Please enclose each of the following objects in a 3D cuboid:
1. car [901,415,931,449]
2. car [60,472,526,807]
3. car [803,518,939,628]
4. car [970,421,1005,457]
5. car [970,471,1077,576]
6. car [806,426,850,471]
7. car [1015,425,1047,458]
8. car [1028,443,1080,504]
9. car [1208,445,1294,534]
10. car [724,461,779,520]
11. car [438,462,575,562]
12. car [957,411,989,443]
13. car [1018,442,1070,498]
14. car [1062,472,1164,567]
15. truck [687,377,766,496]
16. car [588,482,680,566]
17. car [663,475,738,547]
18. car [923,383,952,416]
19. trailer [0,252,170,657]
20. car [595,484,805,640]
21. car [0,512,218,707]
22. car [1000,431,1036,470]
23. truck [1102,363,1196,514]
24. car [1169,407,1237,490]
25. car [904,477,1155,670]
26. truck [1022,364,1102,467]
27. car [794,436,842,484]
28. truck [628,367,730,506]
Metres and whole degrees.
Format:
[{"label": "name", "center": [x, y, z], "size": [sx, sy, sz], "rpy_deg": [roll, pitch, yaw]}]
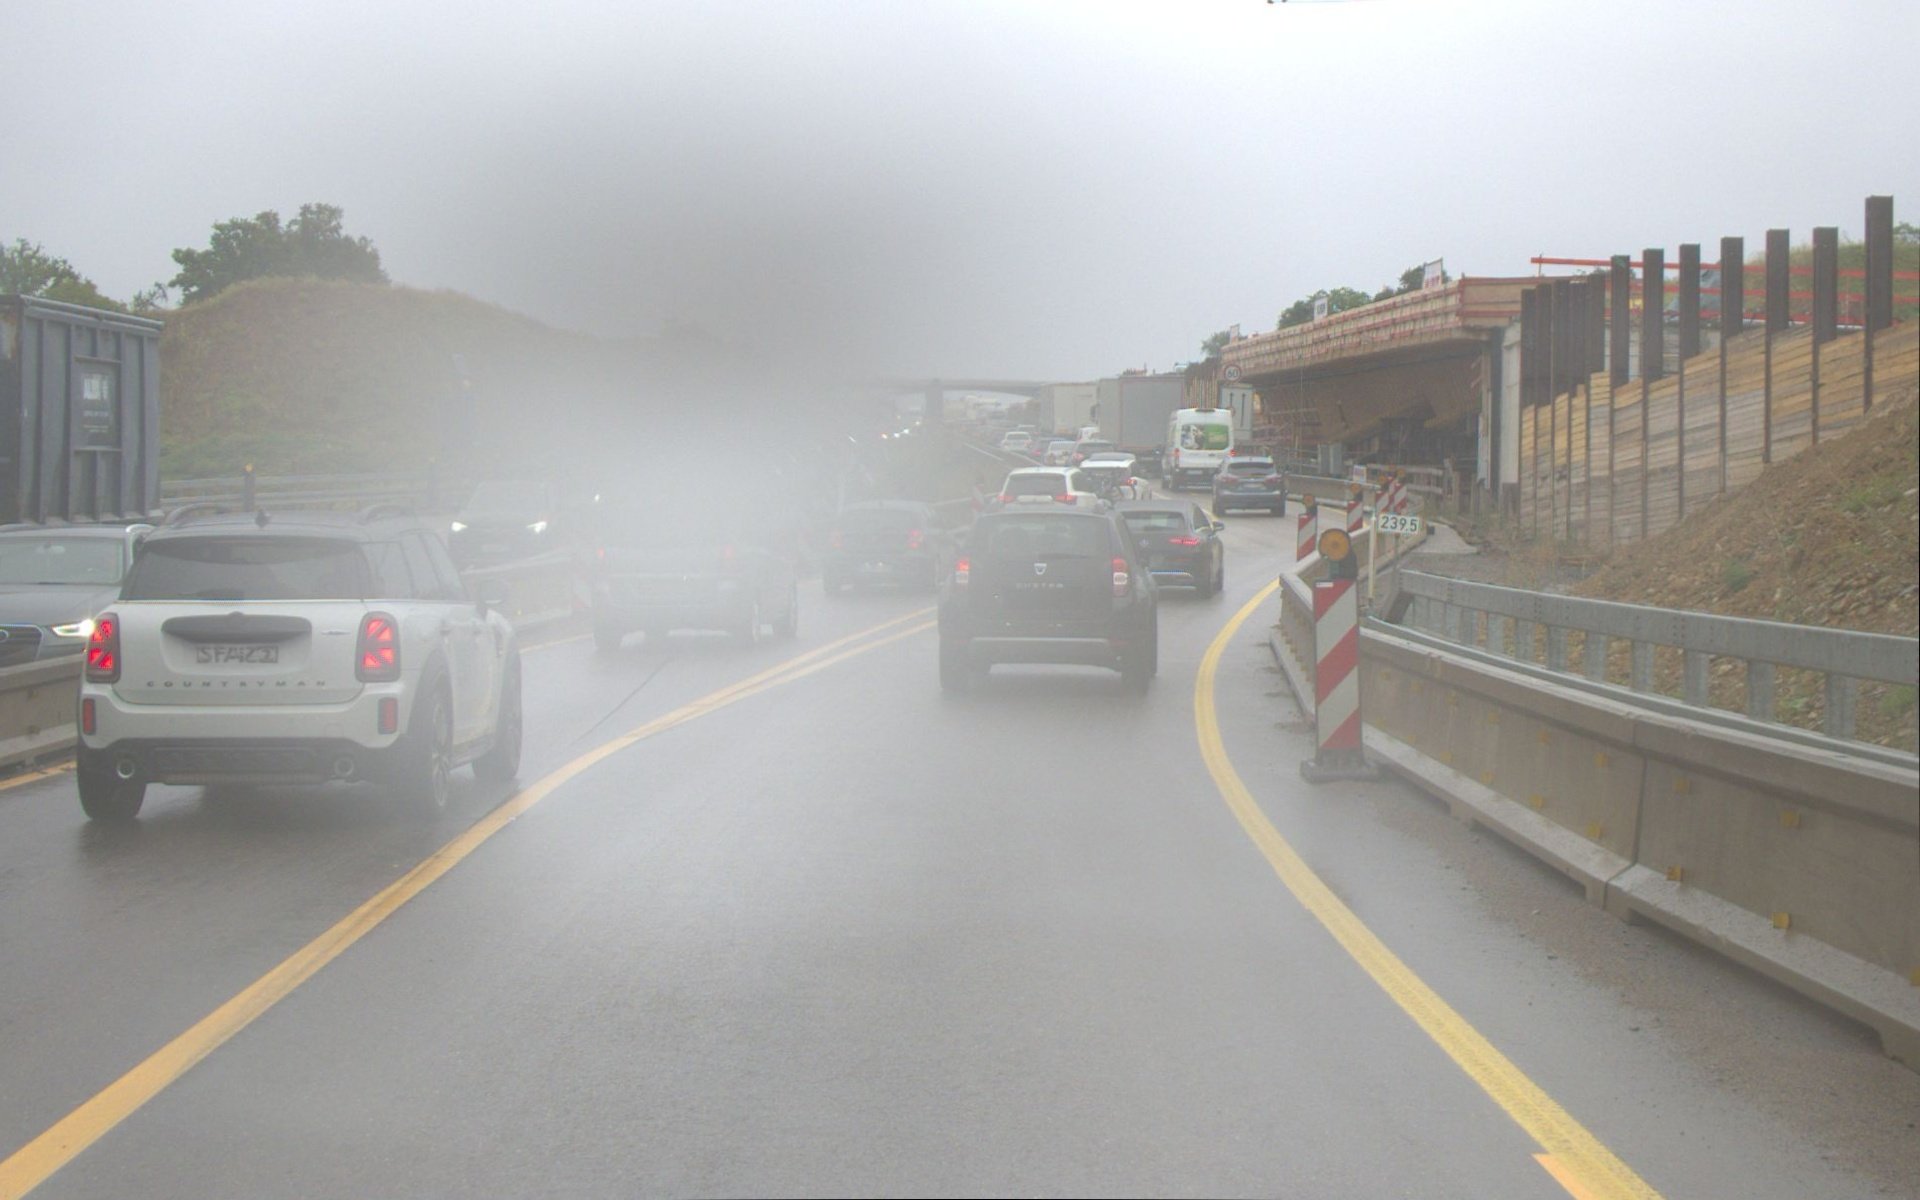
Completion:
[{"label": "car", "center": [-2.965, -11.309, 231.839], "size": [1.993, 2.007, 4.000], "rpy_deg": [0, -1, -1]}, {"label": "car", "center": [-3.467, 0.197, 18.626], "size": [1.816, 1.595, 4.308], "rpy_deg": [0, 0, -2]}, {"label": "car", "center": [-1.388, -0.380, 52.650], "size": [1.993, 1.595, 4.140], "rpy_deg": [0, -1, -2]}, {"label": "car", "center": [1.622, -9.492, 203.400], "size": [1.993, 2.007, 4.000], "rpy_deg": [0, 1, -1]}, {"label": "car", "center": [1.277, -1.546, 70.515], "size": [1.993, 2.007, 3.893], "rpy_deg": [0, -1, -2]}, {"label": "car", "center": [-7.310, -8.399, 190.811], "size": [2.217, 2.362, 4.664], "rpy_deg": [1, 1, 0]}, {"label": "car", "center": [4.926, -10.960, 237.816], "size": [1.993, 2.007, 4.000], "rpy_deg": [0, -1, -2]}, {"label": "car", "center": [3.640, -4.927, 133.944], "size": [1.993, 2.155, 4.140], "rpy_deg": [0, -1, 1]}, {"label": "car", "center": [7.647, -2.878, 90.654], "size": [1.993, 2.155, 4.140], "rpy_deg": [0, -1, 1]}, {"label": "car", "center": [-7.022, -3.677, 116.164], "size": [1.623, 1.804, 3.637], "rpy_deg": [0, -1, 0]}, {"label": "car", "center": [-7.998, -1.567, 61.051], "size": [1.737, 1.679, 5.552], "rpy_deg": [1, 1, -1]}, {"label": "car", "center": [0.864, -11.630, 230.777], "size": [1.993, 2.007, 4.000], "rpy_deg": [0, 1, -1]}, {"label": "car", "center": [3.550, -5.506, 145.618], "size": [1.993, 2.155, 4.140], "rpy_deg": [0, -1, -1]}, {"label": "car", "center": [3.761, -1.930, 83.824], "size": [1.994, 2.155, 4.138], "rpy_deg": [0, -1, 9]}, {"label": "truck", "center": [-11.136, -7.758, 164.789], "size": [3.141, 5.399, 8.523], "rpy_deg": [1, 1, 0]}, {"label": "car", "center": [-7.637, -1.771, 80.830], "size": [1.785, 1.804, 4.499], "rpy_deg": [0, -1, -1]}, {"label": "car", "center": [-7.197, -2.453, 95.778], "size": [1.785, 1.804, 4.499], "rpy_deg": [0, -1, -1]}, {"label": "car", "center": [-1.619, -14.339, 245.883], "size": [1.993, 2.007, 4.000], "rpy_deg": [0, -1, -1]}, {"label": "trailer", "center": [-10.894, -1.532, 37.295], "size": [2.746, 3.956, 9.676], "rpy_deg": [0, 2, -2]}, {"label": "car", "center": [-2.790, -0.370, 37.742], "size": [1.993, 1.595, 4.140], "rpy_deg": [0, -1, 0]}, {"label": "car", "center": [-7.486, 0.018, 28.363], "size": [1.868, 1.466, 4.671], "rpy_deg": [0, 1, -2]}, {"label": "car", "center": [3.121, -8.053, 185.396], "size": [1.849, 1.887, 4.021], "rpy_deg": [0, -1, 0]}, {"label": "truck", "center": [7.571, -6.297, 136.374], "size": [3.102, 5.408, 9.440], "rpy_deg": [0, -1, 7]}, {"label": "car", "center": [8.111, -5.041, 115.158], "size": [1.993, 2.476, 4.981], "rpy_deg": [0, -1, 1]}, {"label": "car", "center": [0.569, -0.195, 30.695], "size": [2.081, 1.595, 4.140], "rpy_deg": [0, -1, 0]}, {"label": "truck", "center": [5.743, -10.439, 196.543], "size": [3.803, 5.026, 12.921], "rpy_deg": [0, -1, -2]}, {"label": "car", "center": [-7.230, -7.135, 175.709], "size": [2.238, 2.350, 4.877], "rpy_deg": [1, 1, 0]}, {"label": "truck", "center": [-10.493, -6.050, 129.191], "size": [3.083, 4.902, 8.564], "rpy_deg": [1, 1, 0]}]
